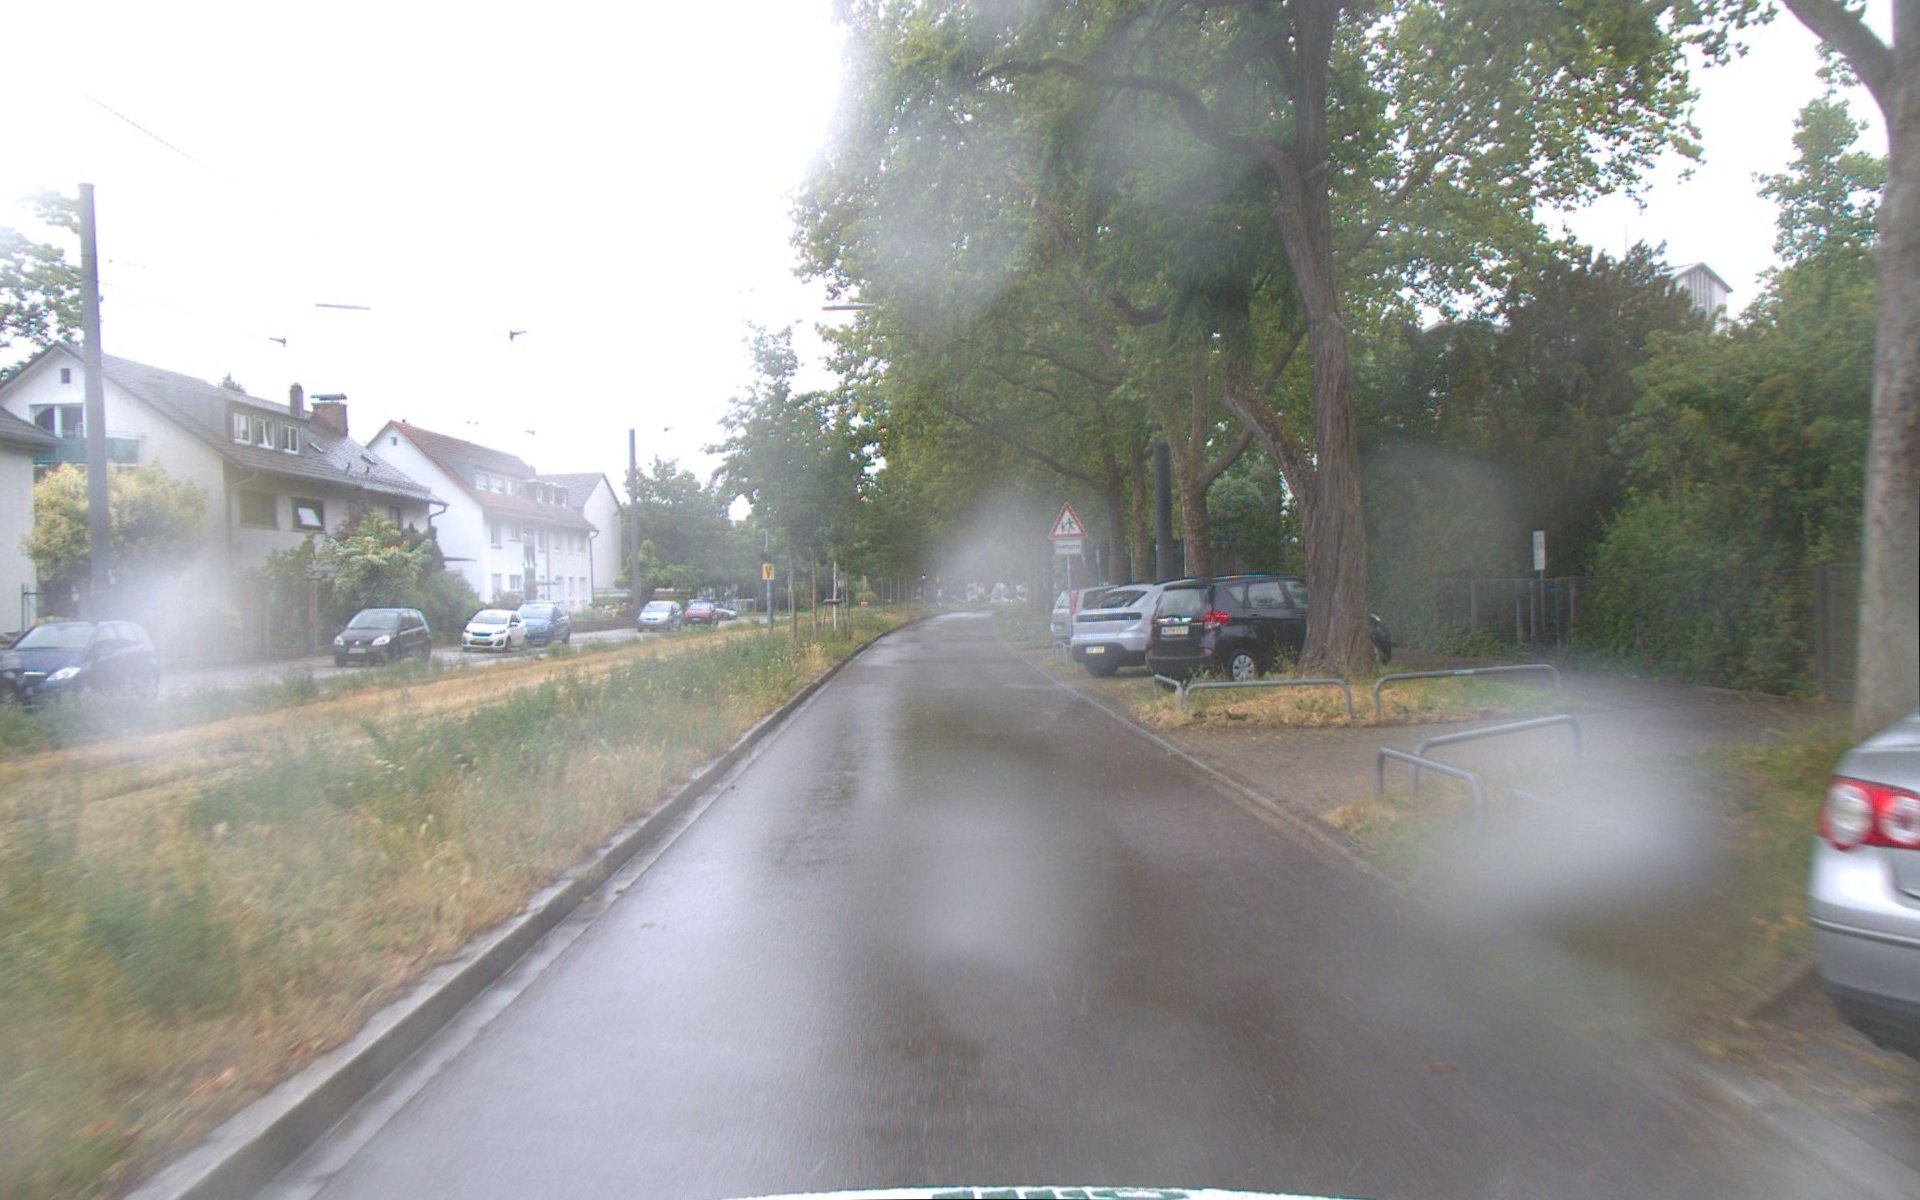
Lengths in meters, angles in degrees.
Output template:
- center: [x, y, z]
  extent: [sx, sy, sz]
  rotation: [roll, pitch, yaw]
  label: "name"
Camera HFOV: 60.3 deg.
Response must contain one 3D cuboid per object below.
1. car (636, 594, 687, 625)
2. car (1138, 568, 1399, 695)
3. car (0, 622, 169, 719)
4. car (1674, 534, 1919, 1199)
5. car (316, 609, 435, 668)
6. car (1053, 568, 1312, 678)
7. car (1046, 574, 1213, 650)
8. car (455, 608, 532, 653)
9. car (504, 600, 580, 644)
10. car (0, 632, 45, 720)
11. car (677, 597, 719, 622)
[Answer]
- center: [-16.306, 0.501, 90.433]
  extent: [1.953, 1.608, 4.517]
  rotation: [0, 1, 0]
  label: "car"
- center: [4.561, 0.422, 24.302]
  extent: [3.670, 1.593, 1.600]
  rotation: [-3, 1, -34]
  label: "car"
- center: [-16.522, 1.249, 30.774]
  extent: [1.836, 1.577, 3.869]
  rotation: [0, 1, -2]
  label: "car"
- center: [4.342, 0.487, 4.960]
  extent: [4.507, 1.571, 1.865]
  rotation: [-6, 2, -34]
  label: "car"
- center: [-16.843, 1.078, 47.884]
  extent: [1.953, 1.542, 4.205]
  rotation: [0, 1, 0]
  label: "car"
- center: [4.150, 0.384, 30.435]
  extent: [4.727, 1.697, 1.968]
  rotation: [-3, 1, -38]
  label: "car"
- center: [4.228, 0.285, 41.363]
  extent: [3.792, 1.593, 1.612]
  rotation: [-4, 1, -15]
  label: "car"
- center: [-16.863, 1.092, 59.931]
  extent: [1.759, 1.514, 3.597]
  rotation: [0, 1, 0]
  label: "car"
- center: [-16.758, 0.848, 66.516]
  extent: [1.953, 1.642, 4.413]
  rotation: [0, 1, 0]
  label: "car"
- center: [-16.495, 1.264, 25.905]
  extent: [1.953, 1.374, 4.240]
  rotation: [0, 1, 0]
  label: "car"
- center: [-16.512, 0.579, 104.302]
  extent: [1.953, 1.514, 4.205]
  rotation: [0, 1, 0]
  label: "car"
